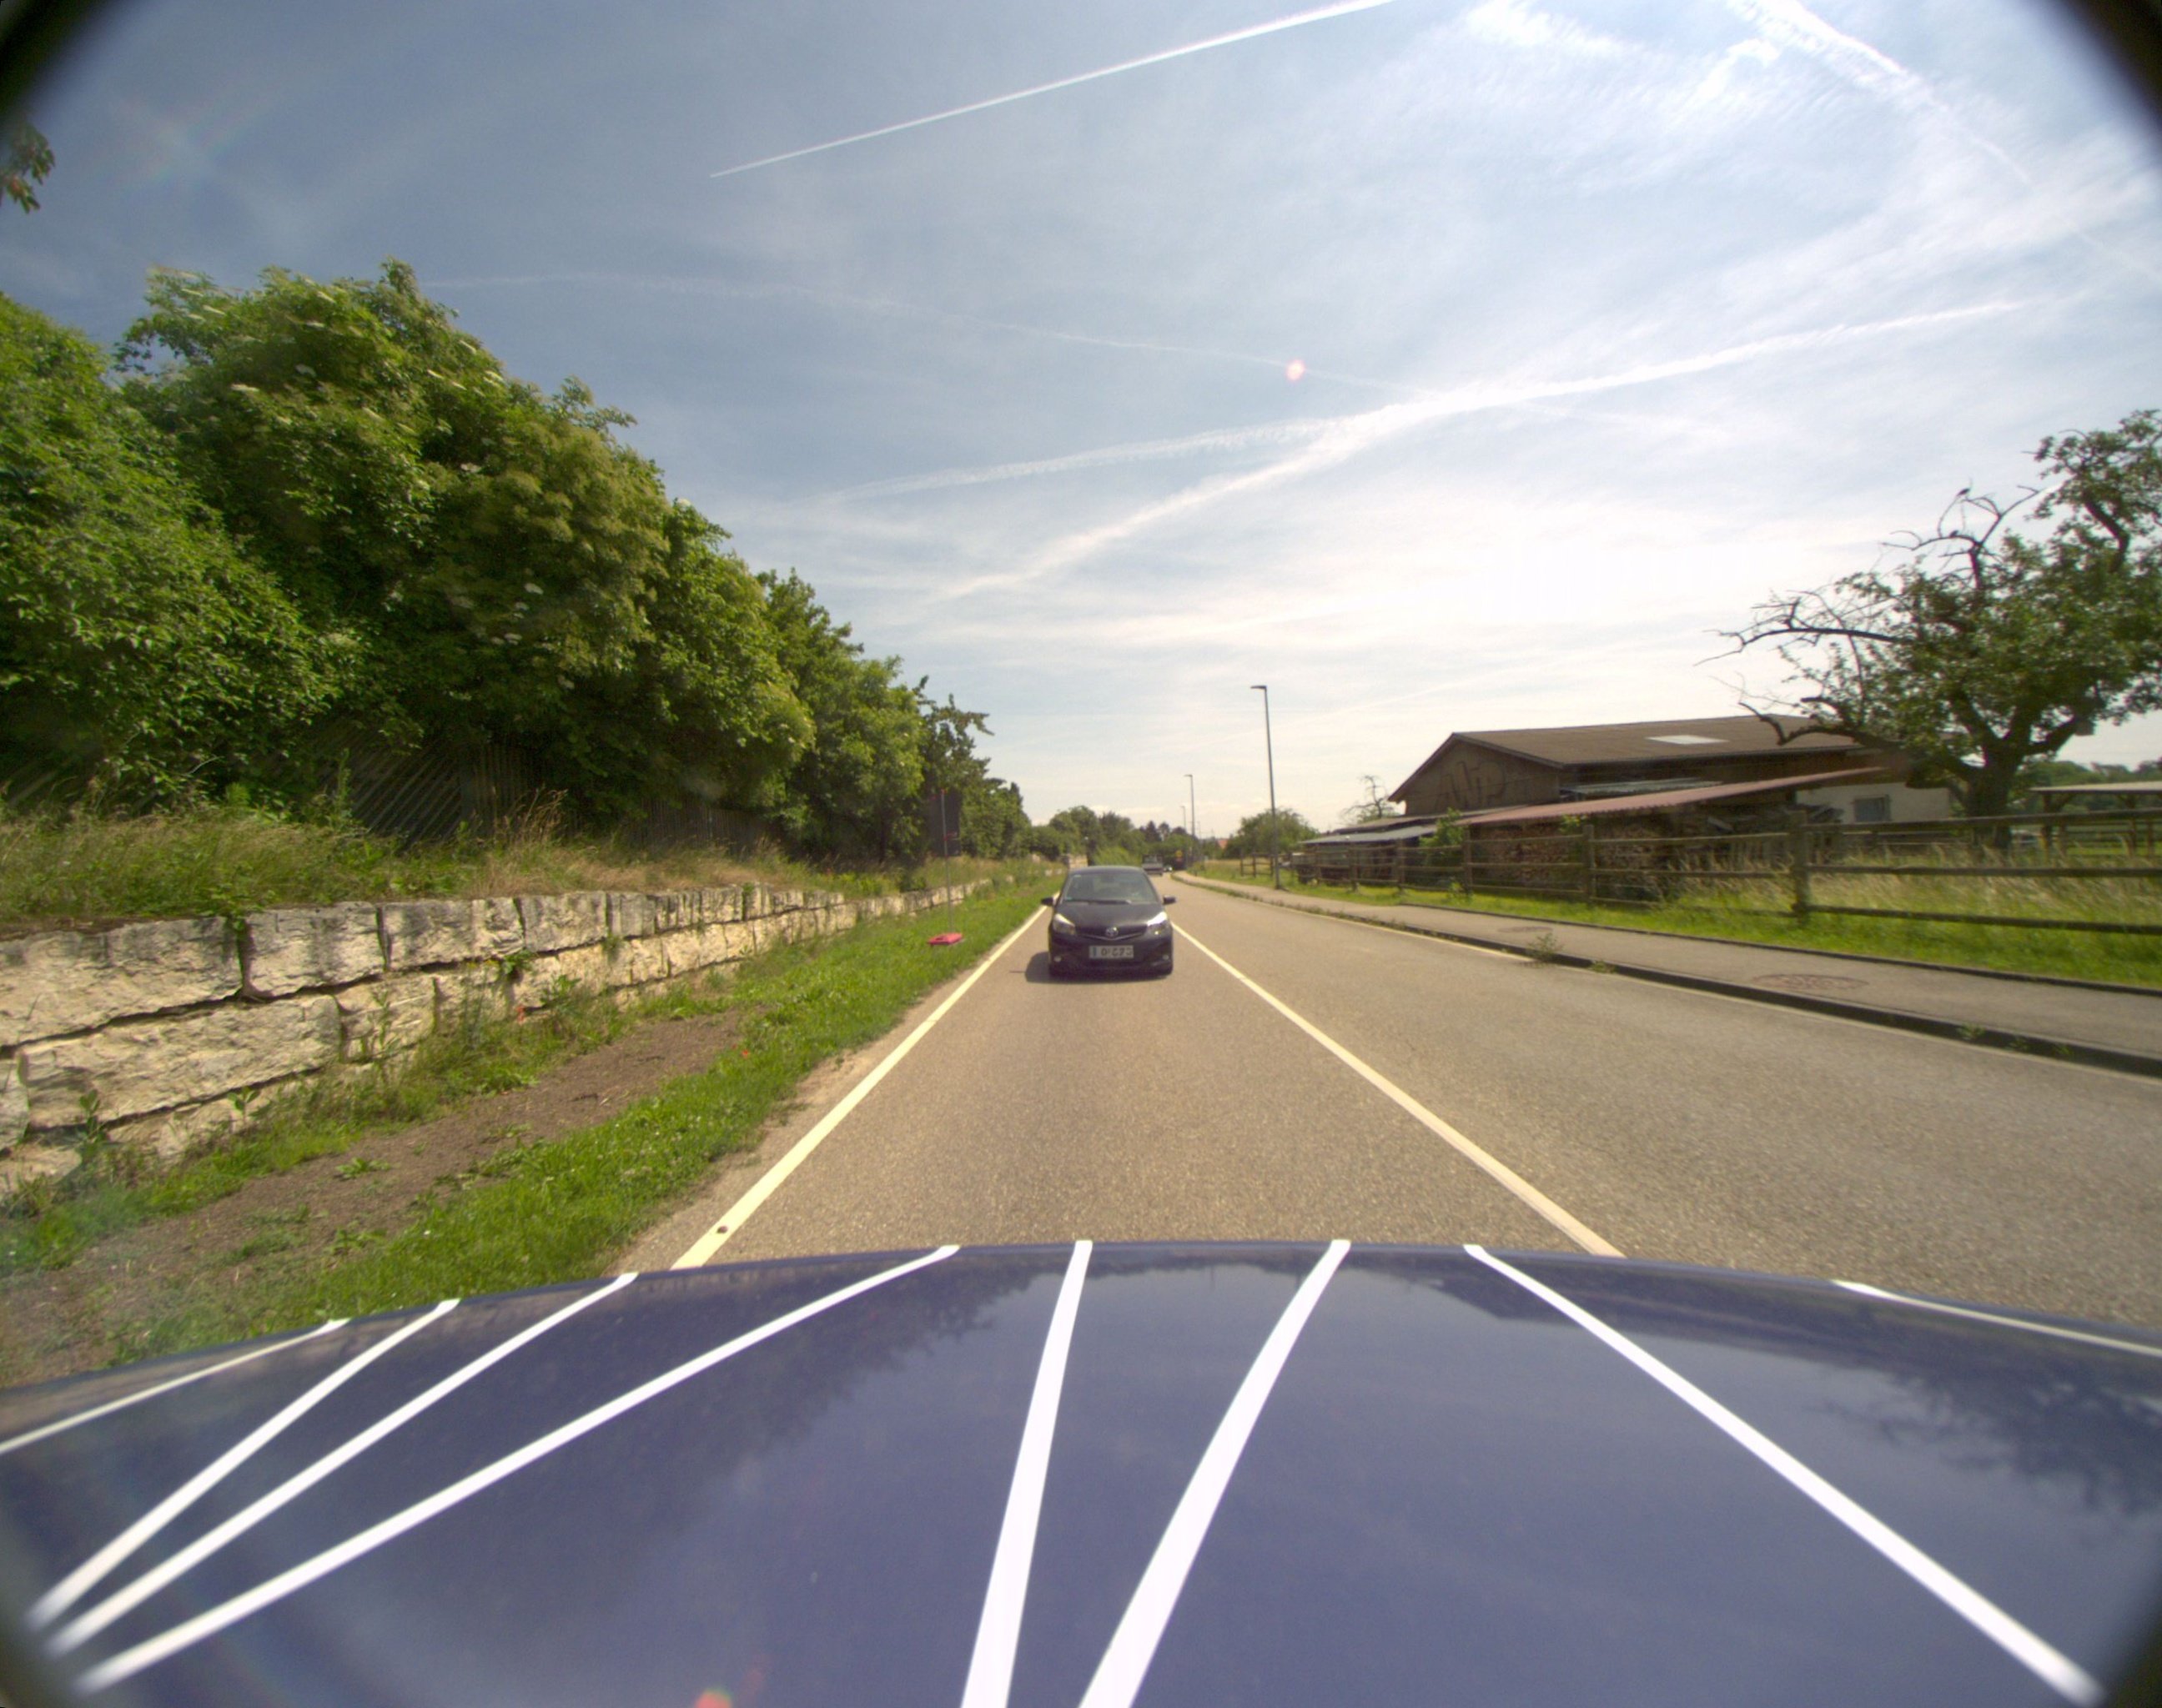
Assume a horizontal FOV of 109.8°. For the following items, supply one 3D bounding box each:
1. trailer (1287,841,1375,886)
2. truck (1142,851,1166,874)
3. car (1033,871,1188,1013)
[{"bbox_3d":[10.457,0.389,32.271,2.160,1.693,5.029,-2,0,1],"label":"trailer"},{"bbox_3d":[7.569,0.854,78.582,2.227,2.280,6.494,-2,0,6],"label":"truck"},{"bbox_3d":[0.393,1.018,10.560,1.677,1.456,4.433,-1,0,2],"label":"car"}]
